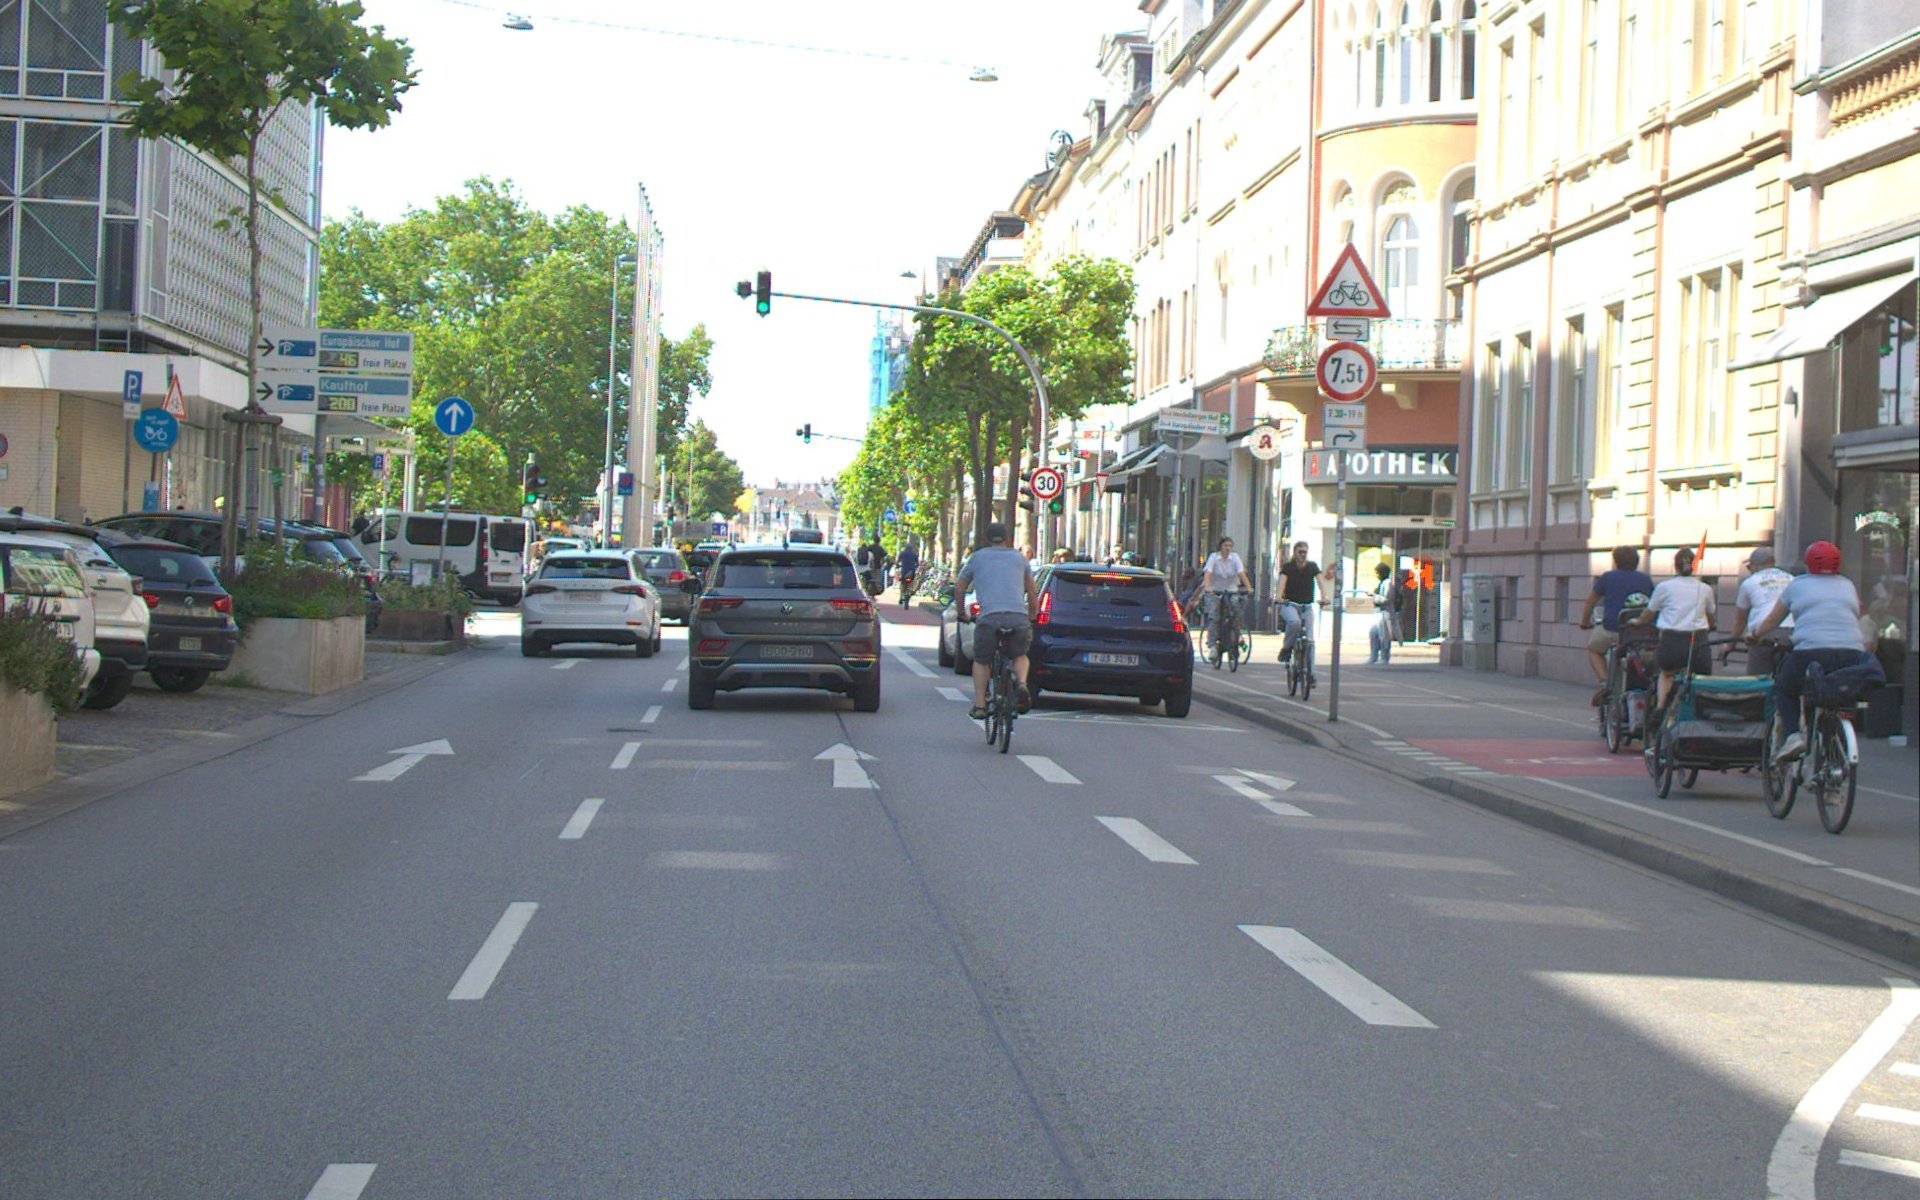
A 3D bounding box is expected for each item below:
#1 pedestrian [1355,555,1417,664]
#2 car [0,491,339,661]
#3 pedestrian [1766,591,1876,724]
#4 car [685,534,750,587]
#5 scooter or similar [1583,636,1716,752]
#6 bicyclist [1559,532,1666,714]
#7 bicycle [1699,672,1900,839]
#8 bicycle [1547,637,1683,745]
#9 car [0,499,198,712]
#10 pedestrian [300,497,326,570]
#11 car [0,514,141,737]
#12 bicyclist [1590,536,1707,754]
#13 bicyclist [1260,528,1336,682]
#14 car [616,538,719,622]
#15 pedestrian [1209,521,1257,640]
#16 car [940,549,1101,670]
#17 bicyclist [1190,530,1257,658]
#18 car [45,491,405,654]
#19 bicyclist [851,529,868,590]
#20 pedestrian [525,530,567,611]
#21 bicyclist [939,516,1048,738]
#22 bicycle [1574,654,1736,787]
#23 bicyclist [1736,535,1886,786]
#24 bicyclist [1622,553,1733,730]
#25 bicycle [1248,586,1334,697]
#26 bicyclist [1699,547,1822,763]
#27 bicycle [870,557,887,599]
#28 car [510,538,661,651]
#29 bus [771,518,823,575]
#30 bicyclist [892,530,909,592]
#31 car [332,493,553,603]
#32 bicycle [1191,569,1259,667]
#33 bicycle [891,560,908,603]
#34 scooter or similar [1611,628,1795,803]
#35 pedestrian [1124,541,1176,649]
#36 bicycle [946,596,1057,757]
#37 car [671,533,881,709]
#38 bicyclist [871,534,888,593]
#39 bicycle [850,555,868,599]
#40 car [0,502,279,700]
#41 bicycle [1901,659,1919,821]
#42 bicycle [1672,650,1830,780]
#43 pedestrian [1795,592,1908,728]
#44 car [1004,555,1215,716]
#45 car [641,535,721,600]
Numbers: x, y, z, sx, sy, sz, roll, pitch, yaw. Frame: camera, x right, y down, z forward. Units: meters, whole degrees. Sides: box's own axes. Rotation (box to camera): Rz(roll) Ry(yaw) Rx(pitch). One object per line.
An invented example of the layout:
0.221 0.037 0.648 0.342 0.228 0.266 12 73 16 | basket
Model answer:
6.799 0.145 54.888 0.791 1.714 0.730 1 1 -8 | pedestrian
-9.149 -0.295 38.648 3.986 1.495 1.717 6 0 -5 | car
8.347 0.556 33.352 0.936 1.264 0.567 0 1 3 | pedestrian
-6.868 -1.137 97.516 1.743 1.436 4.001 2 1 -4 | car
5.869 0.791 29.316 0.853 0.916 1.164 2 1 -1 | scooter or similar
5.859 0.197 30.920 0.709 1.589 0.963 2 1 -1 | bicyclist
5.105 0.925 21.034 0.647 0.876 2.103 2 1 -1 | bicycle
5.857 0.800 30.846 0.740 0.876 2.138 2 1 -1 | bicycle
-8.533 -0.105 28.344 3.992 1.563 1.698 7 1 22 | car
-17.907 -1.834 95.158 0.623 2.007 0.572 1 1 -9 | pedestrian
-8.215 0.007 24.828 3.990 1.485 1.782 6 1 14 | car
5.166 0.327 25.828 0.632 1.590 0.920 2 0 -1 | bicyclist
3.761 0.061 38.292 0.694 1.668 0.835 2 -2 -2 | bicyclist
-5.285 -0.384 62.459 1.743 1.436 4.001 2 1 -4 | car
4.187 -0.307 52.790 0.652 1.803 0.729 2 1 2 | pedestrian
0.738 0.090 44.382 1.822 1.380 4.001 2 2 -2 | car
3.581 -0.090 46.774 0.694 1.668 0.835 4 2 -2 | bicyclist
-8.944 -0.341 42.093 3.986 1.540 1.717 6 0 -5 | car
-2.682 -1.078 91.827 0.419 1.624 0.709 2 1 -1 | bicyclist
-8.343 -0.587 69.235 0.612 1.610 0.550 2 -1 -33 | pedestrian
0.258 0.197 27.127 0.694 1.668 0.916 4 2 -2 | bicyclist
5.157 0.879 25.647 0.647 0.876 2.389 2 0 -1 | bicycle
5.156 0.352 20.864 0.625 1.471 0.889 2 1 -1 | bicyclist
5.188 0.291 24.881 0.623 1.244 0.608 2 1 -1 | bicyclist
3.674 0.441 38.264 0.555 1.116 2.243 4 1 -3 | bicycle
6.066 0.406 26.092 0.658 1.589 0.920 2 0 -1 | bicyclist
-2.251 -0.607 94.921 0.419 1.131 1.910 2 1 -1 | bicycle
-5.091 -0.105 47.136 1.863 1.436 4.001 2 1 -4 | car
-10.710 -3.502 225.252 2.769 3.593 8.976 2 1 -6 | bus
-1.596 -1.048 91.929 0.419 1.624 0.709 2 1 -1 | bicyclist
-11.381 -1.150 75.495 4.720 1.996 1.937 6 2 37 | car
3.574 0.227 46.517 0.555 1.205 2.243 5 1 -3 | bicycle
-1.614 -0.504 91.718 0.419 1.131 1.910 2 1 -1 | bicycle
5.068 0.773 23.558 0.870 1.118 1.621 0 1 -1 | scooter or similar
3.247 -0.087 58.732 0.727 1.803 0.653 2 1 14 | pedestrian
0.309 0.578 27.104 0.664 1.116 2.243 4 1 -3 | bicycle
-1.763 0.195 32.886 1.833 1.522 4.000 2 0 -3 | car
-2.230 -1.016 95.120 0.419 1.624 0.669 2 1 -1 | bicyclist
-2.700 -0.620 91.830 0.419 1.131 1.910 2 1 -1 | bicycle
-8.368 -0.076 31.627 3.996 1.454 1.666 7 1 34 | car
6.269 0.894 20.689 0.563 0.993 2.103 2 1 -1 | bicycle
6.000 0.857 26.178 0.647 0.876 2.103 2 1 -1 | bicycle
8.459 0.567 32.629 0.936 1.264 0.567 0 1 3 | pedestrian
1.494 0.326 35.437 1.822 1.404 3.187 4 1 -2 | car
-6.514 -0.781 80.538 1.743 1.436 4.001 2 1 -4 | car
